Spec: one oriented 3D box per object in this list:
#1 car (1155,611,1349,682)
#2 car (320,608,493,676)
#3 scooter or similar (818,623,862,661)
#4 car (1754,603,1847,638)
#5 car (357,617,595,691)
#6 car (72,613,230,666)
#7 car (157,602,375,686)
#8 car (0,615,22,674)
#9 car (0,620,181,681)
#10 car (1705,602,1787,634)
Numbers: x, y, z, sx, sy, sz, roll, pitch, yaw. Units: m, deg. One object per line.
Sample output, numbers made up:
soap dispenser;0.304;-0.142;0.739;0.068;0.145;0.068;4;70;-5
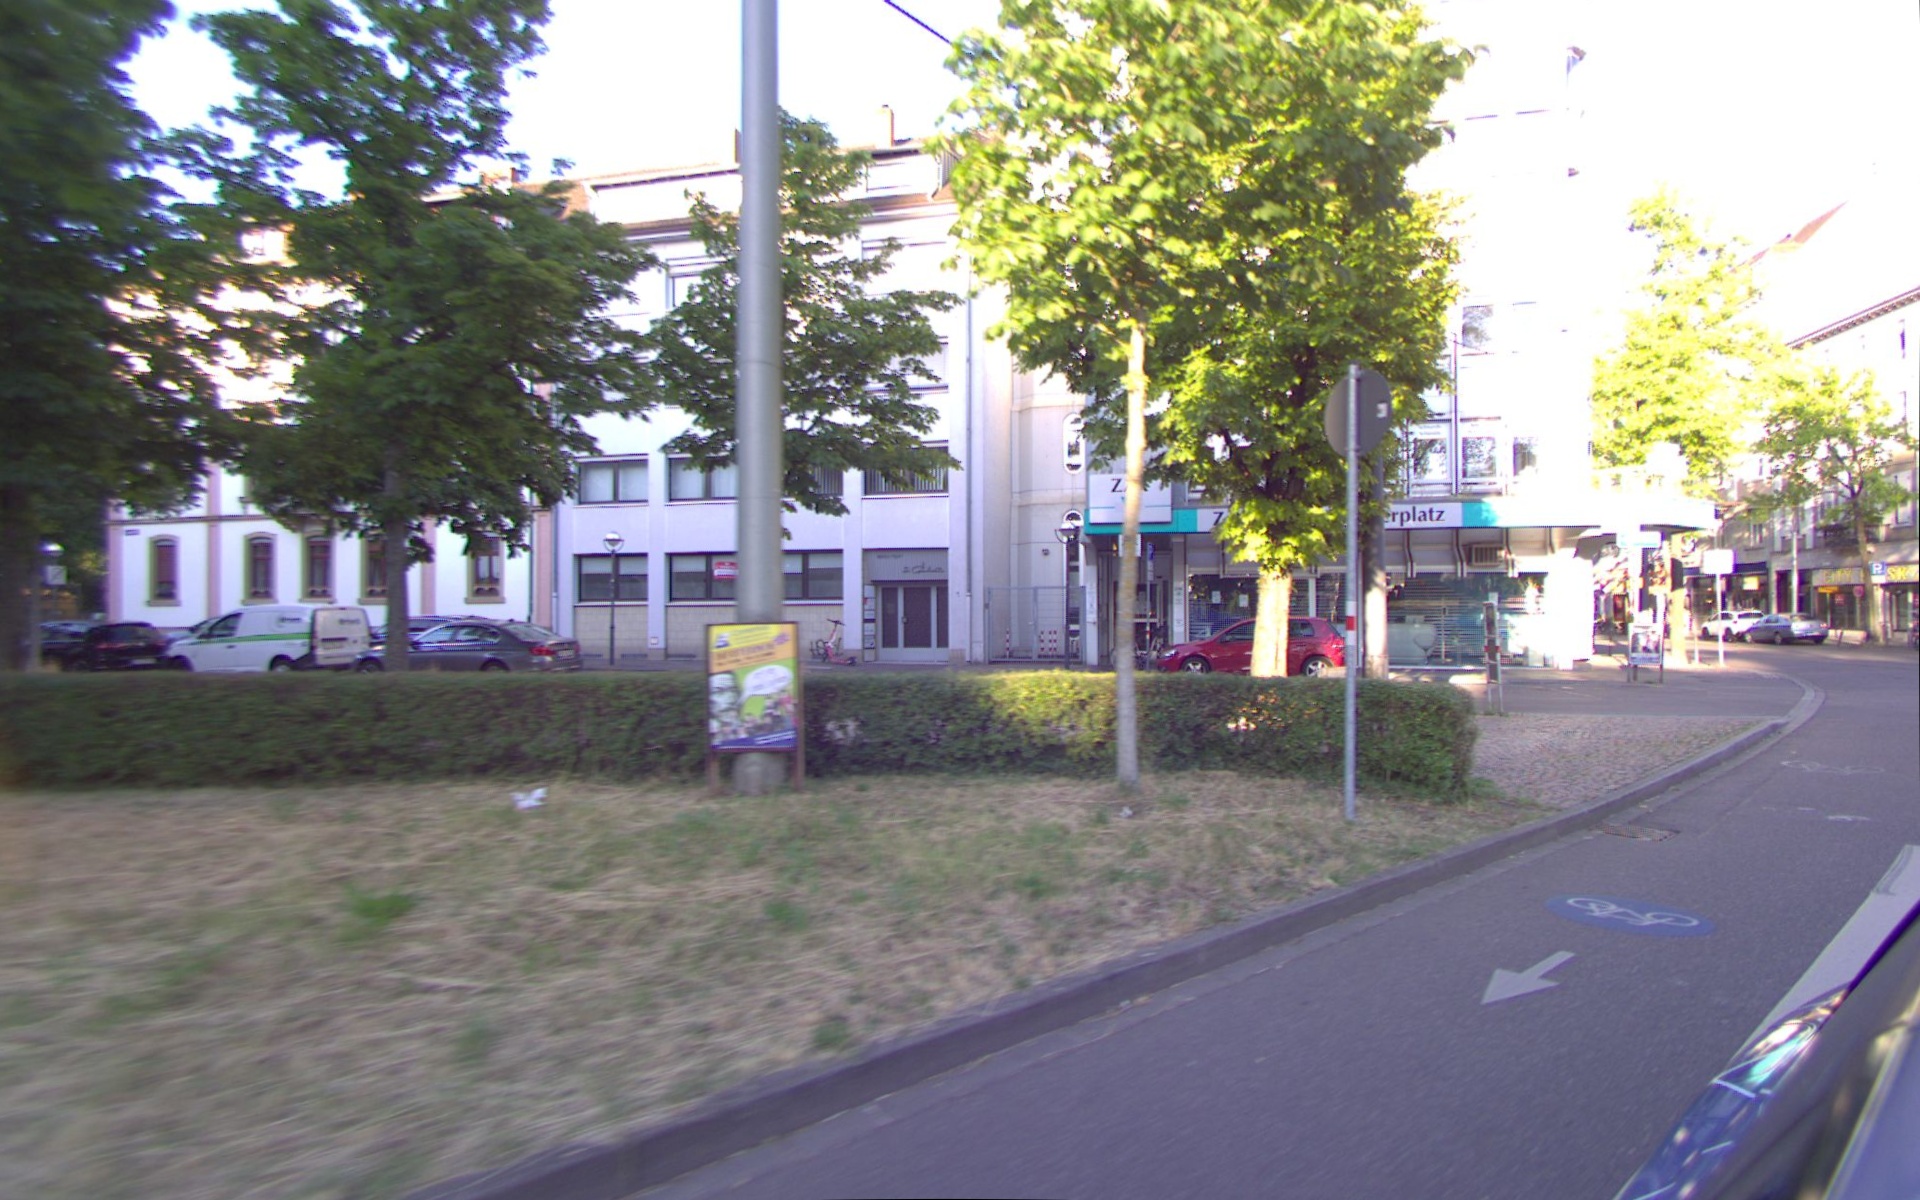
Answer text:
car;6.338;1.004;22.401;3.937;1.468;1.842;-1;-1;11
car;-14.798;1.093;27.121;3.952;1.747;1.694;0;-1;13
scooter or similar;-3.319;1.149;28.036;1.173;1.046;0.483;-1;-2;33
car;39.469;0.941;47.627;1.698;1.572;3.951;0;-1;12
car;-10.030;1.070;21.083;4.255;1.428;1.800;0;-1;11
car;-23.442;1.131;29.359;3.620;1.468;1.694;0;-1;13
car;-15.325;0.940;22.420;3.950;1.747;1.695;0;-1;11
car;-25.678;1.094;24.802;4.326;1.437;1.722;0;-1;11
car;-20.557;1.139;23.632;3.723;1.353;1.722;0;-1;11
car;40.868;0.937;52.722;1.775;1.572;3.951;0;-1;12
